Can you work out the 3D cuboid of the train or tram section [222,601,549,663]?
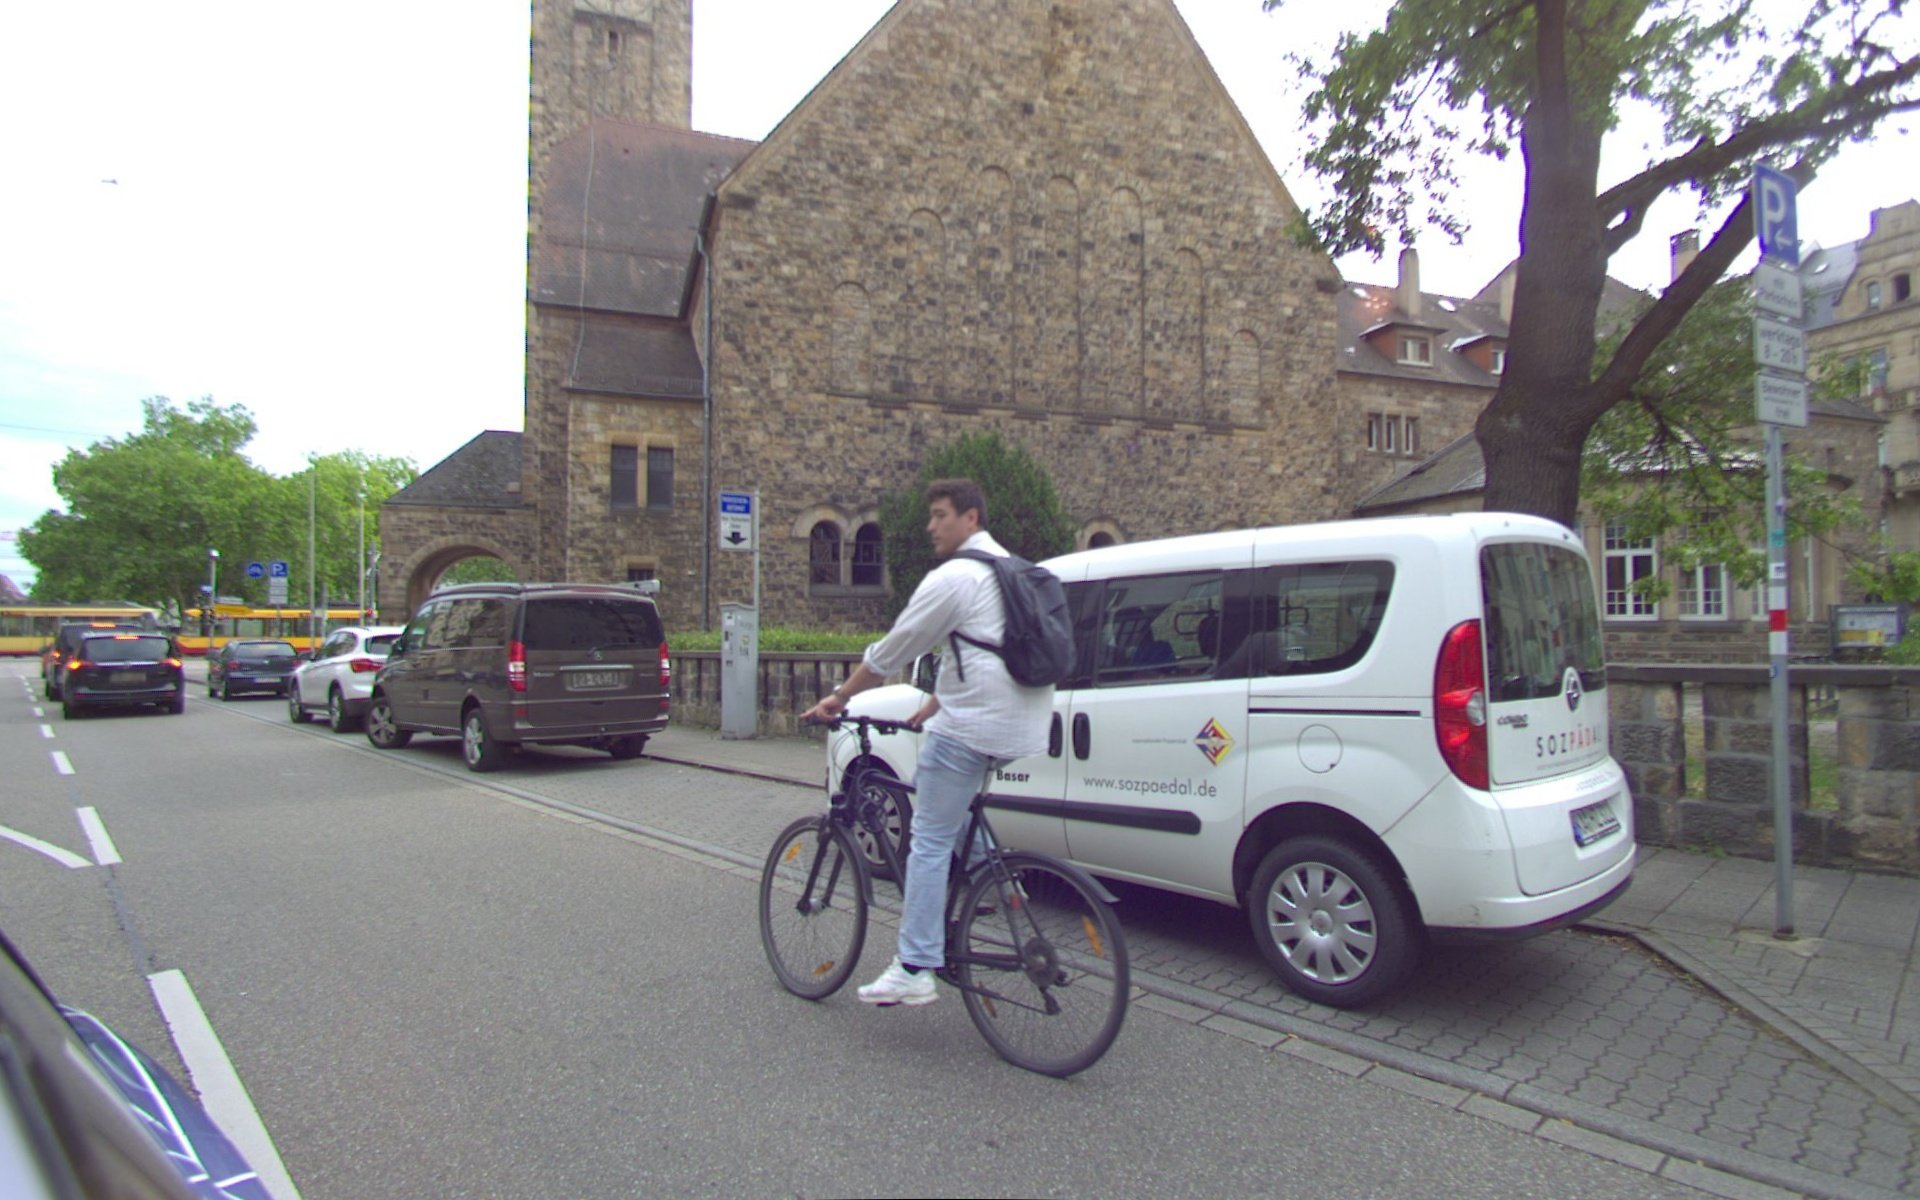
[{"bbox_3d":[-39.667,2.263,71.187,19.605,4.124,3.639,1,-1,-18],"label":"train or tram section"}]

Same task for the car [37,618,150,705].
[{"bbox_3d":[-21.932,1.514,25.525,1.889,1.969,5.288,2,-3,-43],"label":"car"}]

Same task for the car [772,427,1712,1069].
[{"bbox_3d":[0.986,0.535,5.406,1.821,1.954,4.553,1,-3,-42],"label":"car"}]

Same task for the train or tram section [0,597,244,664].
[{"bbox_3d":[-56.023,1.989,66.040,14.780,4.124,3.592,1,-1,-18],"label":"train or tram section"}]

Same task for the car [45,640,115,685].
[{"bbox_3d":[-31.256,2.214,35.925,1.583,1.468,3.720,5,-5,-44],"label":"car"}]

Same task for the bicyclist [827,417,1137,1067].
[{"bbox_3d":[0.063,0.420,3.466,0.772,1.880,0.716,2,-3,-39],"label":"bicyclist"}]

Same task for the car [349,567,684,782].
[{"bbox_3d":[-5.501,0.805,12.136,1.990,2.029,5.186,2,-3,-44],"label":"car"}]

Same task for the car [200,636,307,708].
[{"bbox_3d":[-17.423,1.705,24.896,1.627,1.520,3.775,0,0,-44],"label":"car"}]

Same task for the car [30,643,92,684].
[{"bbox_3d":[-35.668,2.515,40.114,1.629,1.540,3.897,5,-6,-43],"label":"car"}]

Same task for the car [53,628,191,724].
[{"bbox_3d":[-16.891,1.457,20.315,1.823,1.697,4.552,2,-3,-43],"label":"car"}]

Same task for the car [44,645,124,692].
[{"bbox_3d":[-26.947,2.081,31.125,1.684,1.296,4.047,5,-5,-42],"label":"car"}]

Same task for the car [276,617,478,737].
[{"bbox_3d":[-9.603,1.193,16.523,1.822,1.701,4.435,2,-3,-44],"label":"car"}]

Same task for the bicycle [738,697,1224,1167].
[{"bbox_3d":[-0.077,0.939,3.557,0.560,1.096,1.990,1,-3,-38],"label":"bicycle"}]
